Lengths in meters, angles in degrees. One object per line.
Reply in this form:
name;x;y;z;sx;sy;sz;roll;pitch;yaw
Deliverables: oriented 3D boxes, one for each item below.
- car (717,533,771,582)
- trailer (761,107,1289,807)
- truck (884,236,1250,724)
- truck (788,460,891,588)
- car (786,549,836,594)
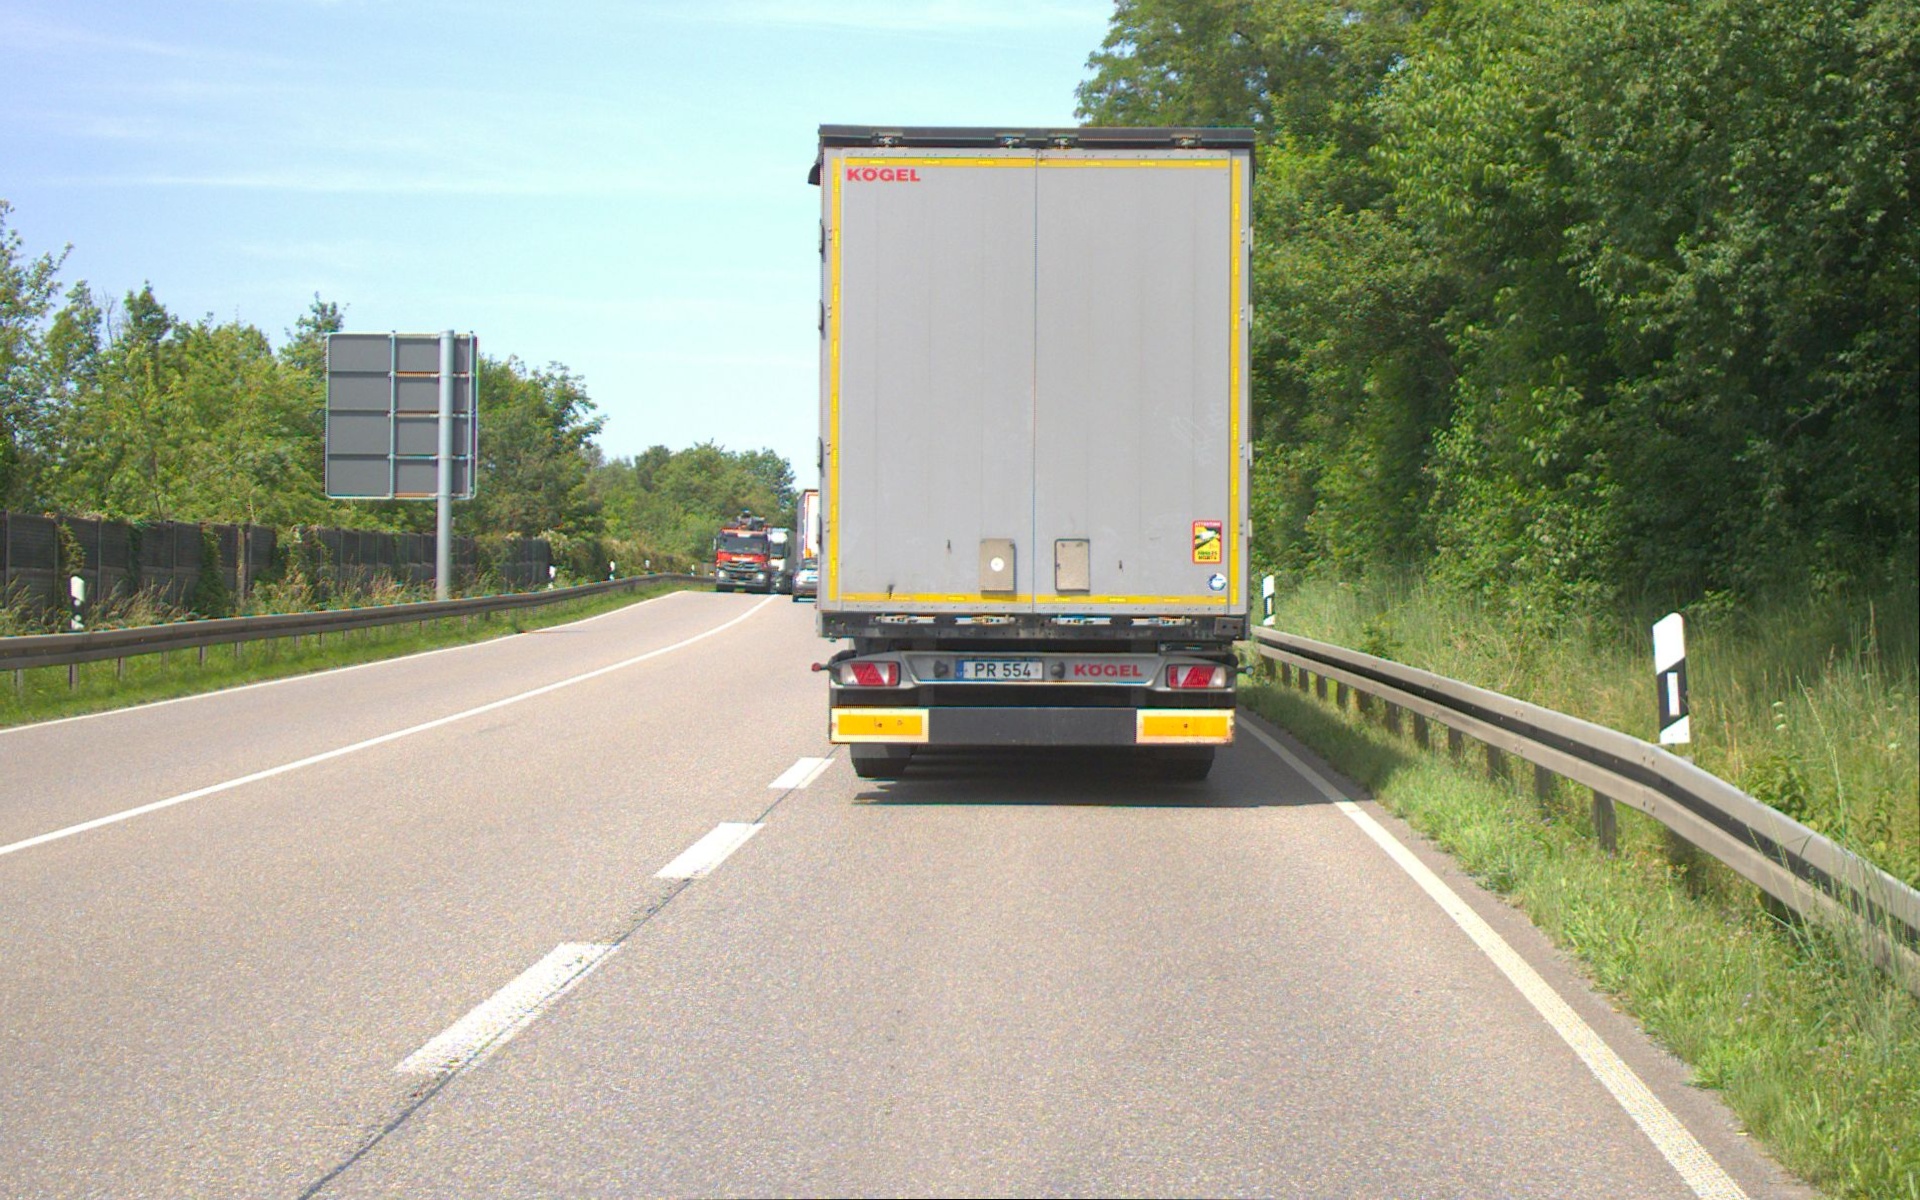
car;-10.917;-2.159;173.048;2.615;2.414;5.830;-1;1;-4
trailer;0.735;-0.904;26.520;3.027;4.021;13.351;0;1;3
truck;1.110;-1.068;33.319;3.153;4.210;7.121;0;0;3
truck;-4.772;-2.930;136.022;3.828;4.728;16.205;0;1;-2
car;-5.058;-0.996;116.838;1.666;1.481;4.000;1;1;-2
